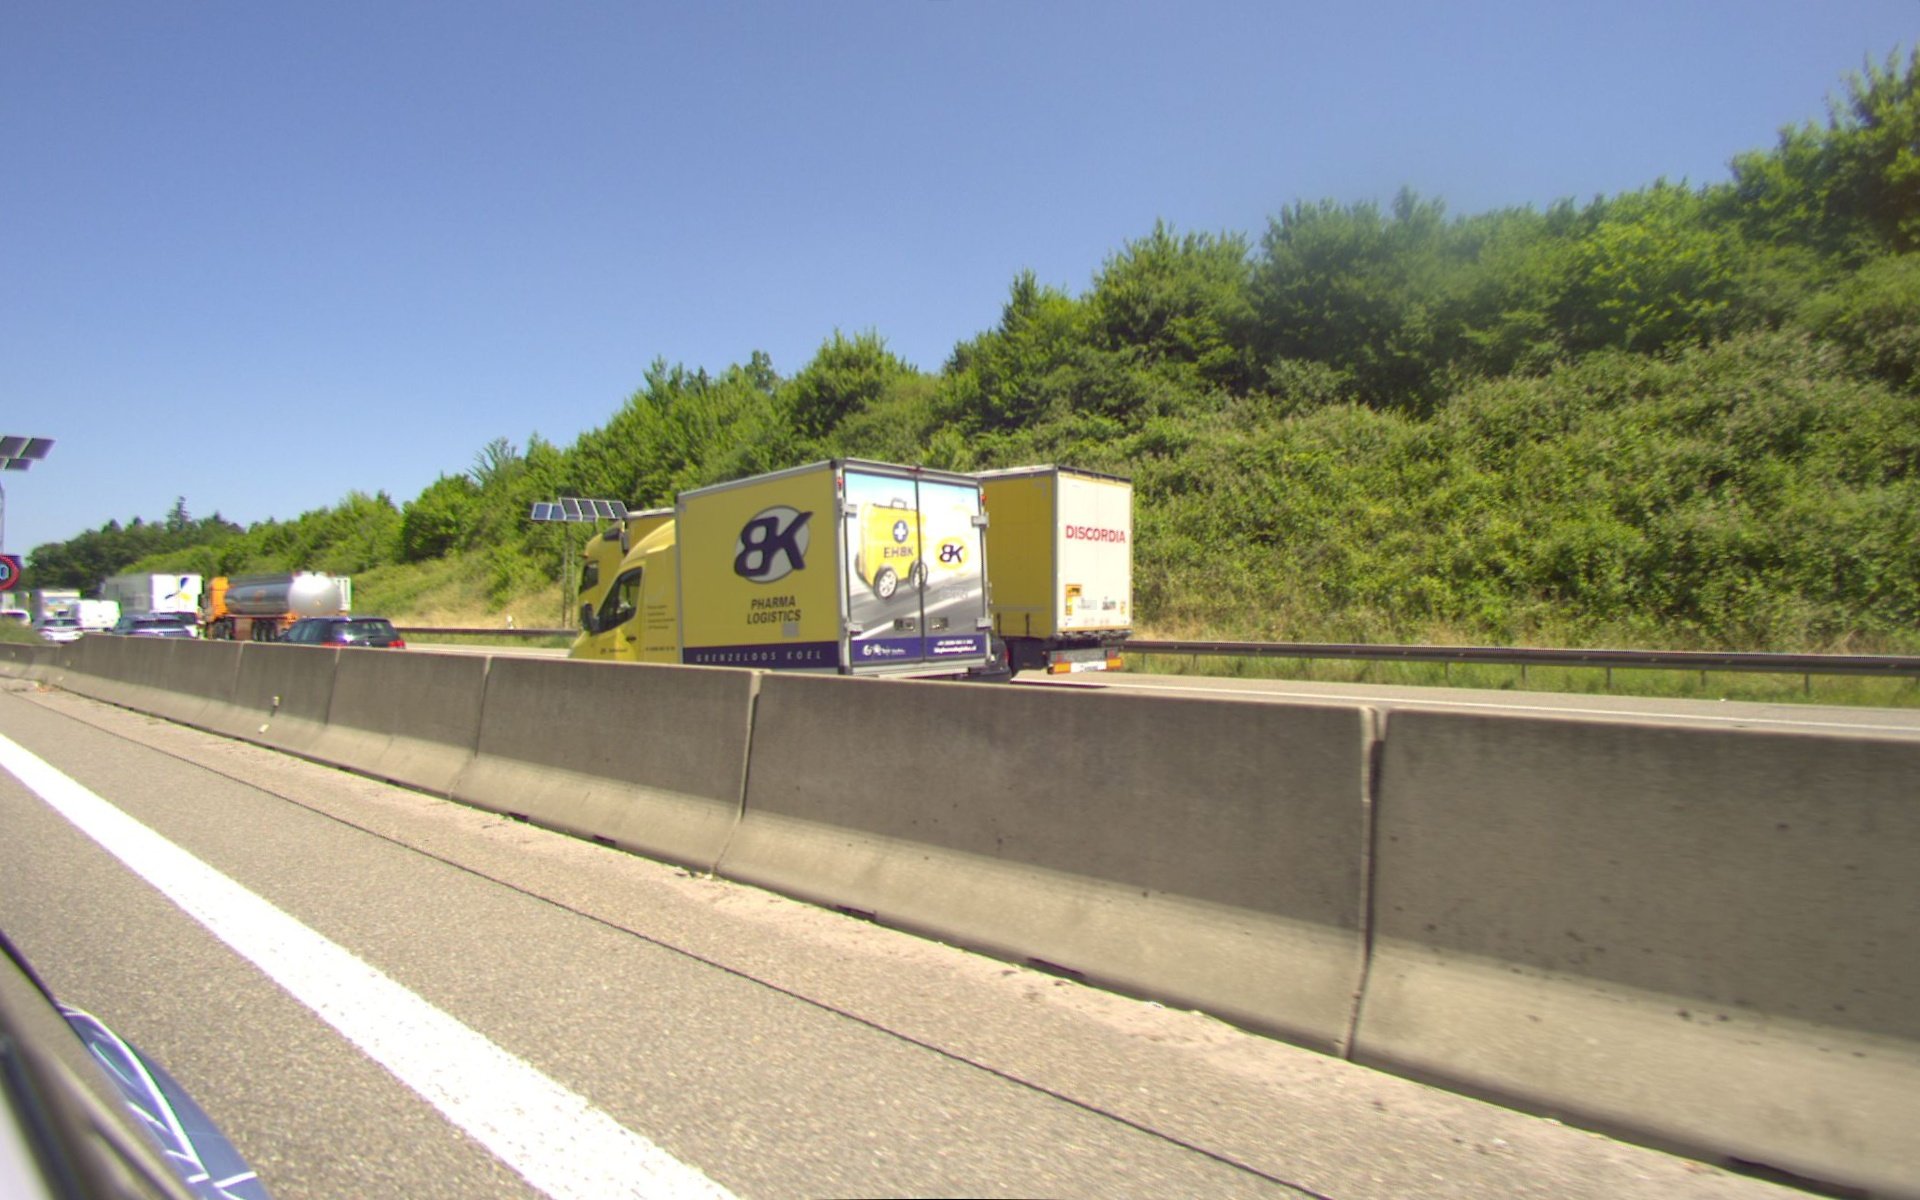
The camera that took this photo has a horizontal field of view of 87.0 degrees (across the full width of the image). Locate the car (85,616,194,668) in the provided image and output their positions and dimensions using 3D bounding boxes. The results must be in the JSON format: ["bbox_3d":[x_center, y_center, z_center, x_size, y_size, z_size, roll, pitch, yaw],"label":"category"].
[{"bbox_3d":[-26.699,1.300,32.878,4.754,1.508,1.810,0,0,39],"label":"car"}]

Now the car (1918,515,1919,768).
[{"bbox_3d":[7.029,0.252,3.859,4.754,1.508,1.810,0,0,39],"label":"car"}]

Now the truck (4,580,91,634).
[{"bbox_3d":[-83.870,0.607,92.795,19.442,4.490,3.658,0,0,41],"label":"truck"}]

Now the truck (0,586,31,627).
[{"bbox_3d":[-110.109,0.724,115.657,19.442,4.490,3.658,0,0,41],"label":"truck"}]

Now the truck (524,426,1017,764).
[{"bbox_3d":[-2.646,-0.049,12.227,6.776,3.039,2.243,0,0,43],"label":"truck"}]

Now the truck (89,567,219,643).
[{"bbox_3d":[-53.246,0.311,66.499,17.372,4.490,3.658,0,0,41],"label":"truck"}]

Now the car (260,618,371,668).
[{"bbox_3d":[-21.904,1.390,34.322,4.754,1.508,1.810,0,0,39],"label":"car"}]

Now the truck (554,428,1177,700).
[{"bbox_3d":[-3.557,-0.591,23.843,17.372,4.490,3.658,0,0,41],"label":"truck"}]

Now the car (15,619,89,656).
[{"bbox_3d":[-41.567,1.676,46.303,4.754,1.508,1.810,0,0,39],"label":"car"}]

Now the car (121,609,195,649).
[{"bbox_3d":[-38.491,1.331,48.525,4.754,1.776,1.810,0,0,39],"label":"car"}]

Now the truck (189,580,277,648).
[{"bbox_3d":[-37.876,0.693,52.709,5.181,3.390,2.469,0,0,39],"label":"truck"}]

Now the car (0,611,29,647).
[{"bbox_3d":[-56.819,1.670,59.879,5.661,1.992,1.808,0,0,40],"label":"car"}]

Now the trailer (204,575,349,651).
[{"bbox_3d":[-33.212,0.689,48.887,11.684,3.319,2.552,-1,0,40],"label":"trailer"}]

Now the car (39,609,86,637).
[{"bbox_3d":[-68.431,1.715,77.125,5.886,1.955,2.160,0,0,43],"label":"car"}]

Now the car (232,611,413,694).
[{"bbox_3d":[-13.409,1.009,21.167,4.754,1.508,1.810,0,0,39],"label":"car"}]

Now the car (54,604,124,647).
[{"bbox_3d":[-52.274,1.470,60.689,6.536,2.402,2.162,0,0,40],"label":"car"}]
